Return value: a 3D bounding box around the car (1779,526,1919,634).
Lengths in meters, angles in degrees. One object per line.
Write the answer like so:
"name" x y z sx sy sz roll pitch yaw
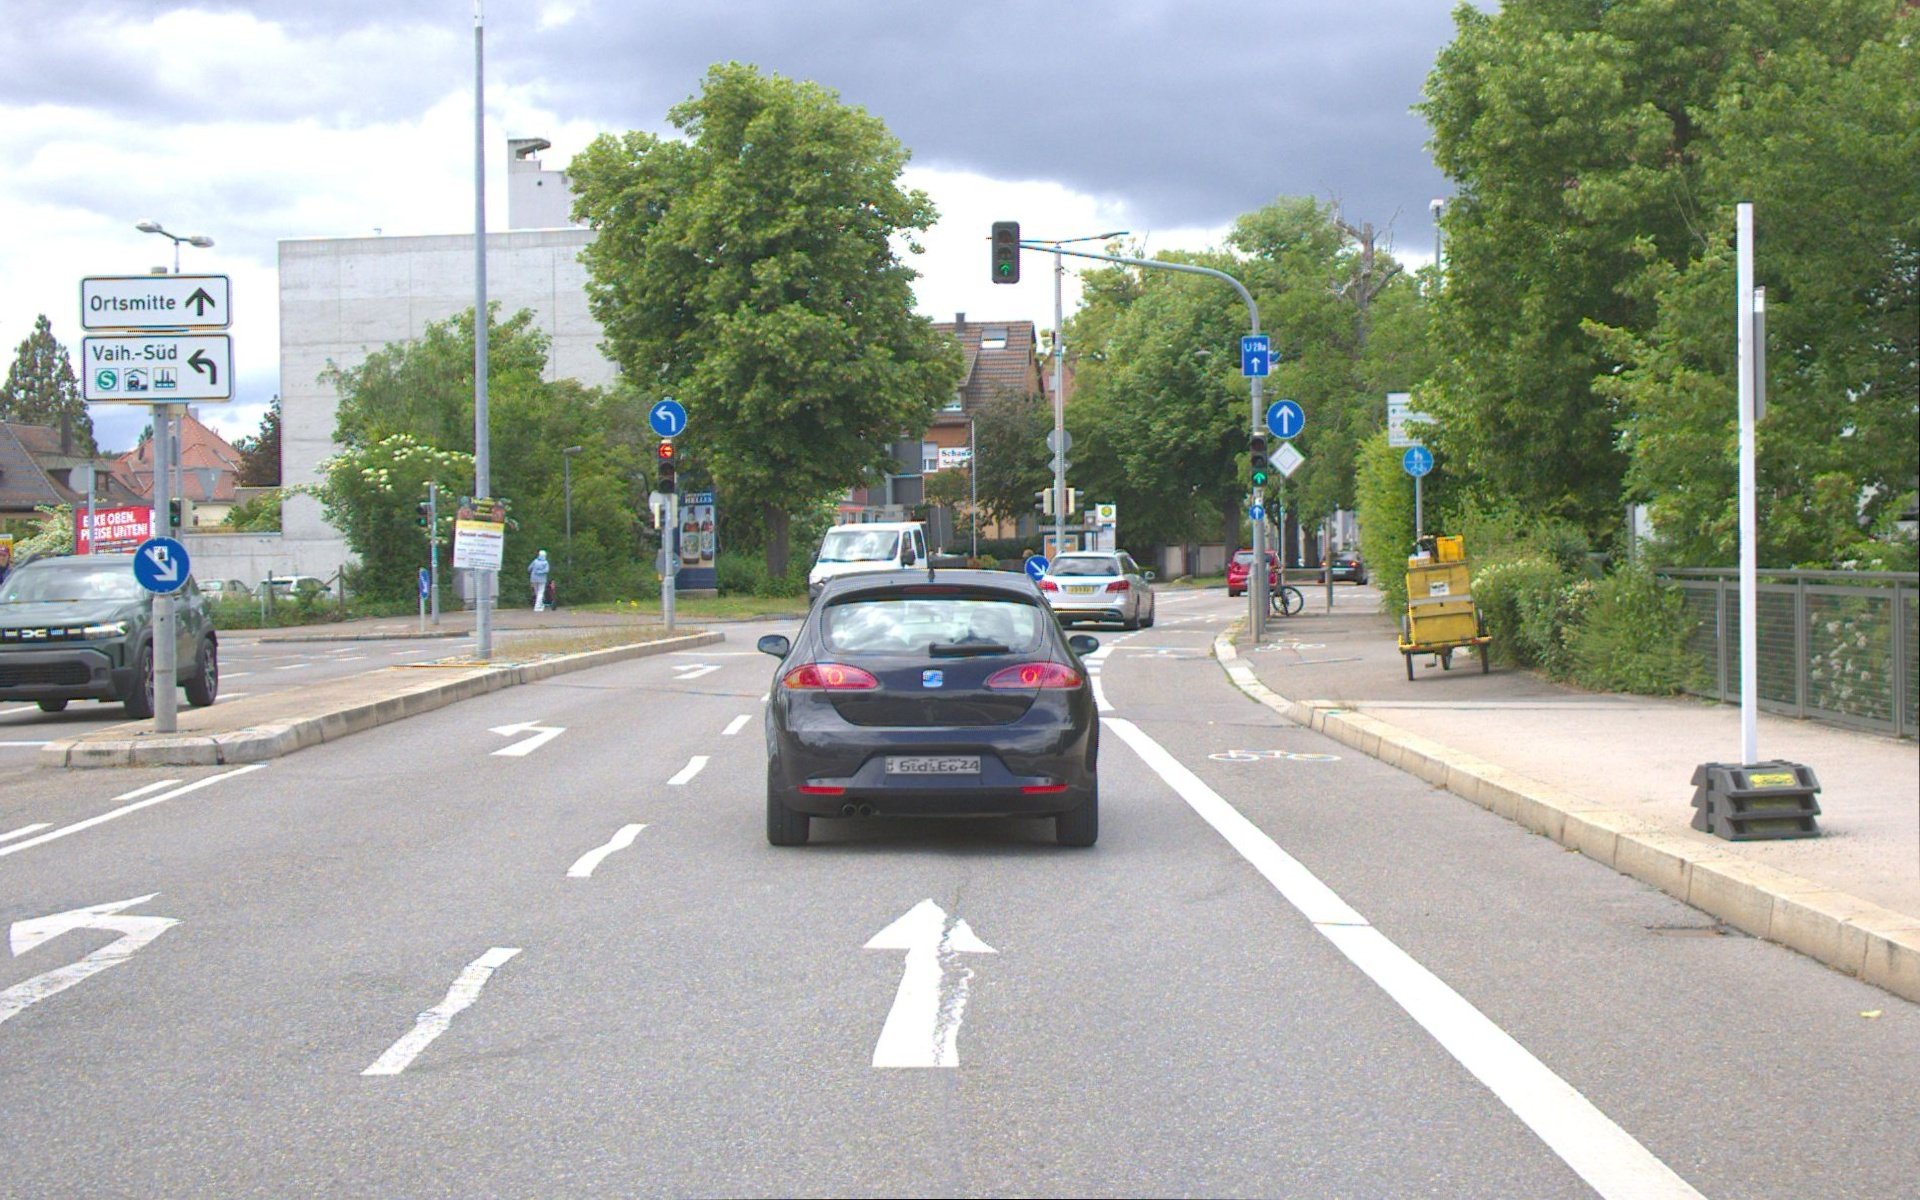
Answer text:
"car" 12.839 -0.302 49.355 1.668 1.444 3.999 -2 1 8

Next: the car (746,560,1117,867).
"car" -0.060 0.542 18.887 1.759 1.444 3.714 1 1 3

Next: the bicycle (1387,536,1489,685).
"bicycle" 5.164 0.086 37.292 0.891 1.505 2.782 -3 1 5

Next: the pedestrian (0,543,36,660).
"pedestrian" -13.405 0.011 48.272 0.656 1.628 1.071 0 0 -6

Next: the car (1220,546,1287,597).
"car" 9.173 -0.909 107.820 1.941 1.476 4.253 -1 1 3

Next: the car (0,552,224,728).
"car" -8.627 0.349 34.145 1.822 1.621 4.279 -1 1 -2

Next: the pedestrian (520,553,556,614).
"pedestrian" -10.622 -0.412 86.533 0.655 1.517 0.923 -1 1 8

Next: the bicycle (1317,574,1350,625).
"bicycle" 7.806 -0.016 71.808 0.628 1.025 1.503 0 1 8

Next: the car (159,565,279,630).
"car" -24.090 -0.099 111.863 1.995 2.007 3.996 2 1 19

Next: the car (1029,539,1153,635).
"car" 2.499 -0.268 64.795 1.819 1.693 4.252 -1 1 9

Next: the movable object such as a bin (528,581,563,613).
"movable object such as a bin" -10.520 -0.075 87.238 0.655 0.795 0.897 -1 1 8

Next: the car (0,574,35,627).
"car" -29.478 0.052 101.955 1.798 1.548 3.995 -1 1 25

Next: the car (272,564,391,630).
"car" -20.104 -0.107 110.126 1.995 2.007 3.996 2 1 19

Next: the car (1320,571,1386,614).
"car" 16.028 -0.330 140.062 1.995 1.678 3.997 -1 1 16

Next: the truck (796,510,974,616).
"truck" -1.644 -0.866 78.599 2.127 2.257 6.801 -1 1 16
